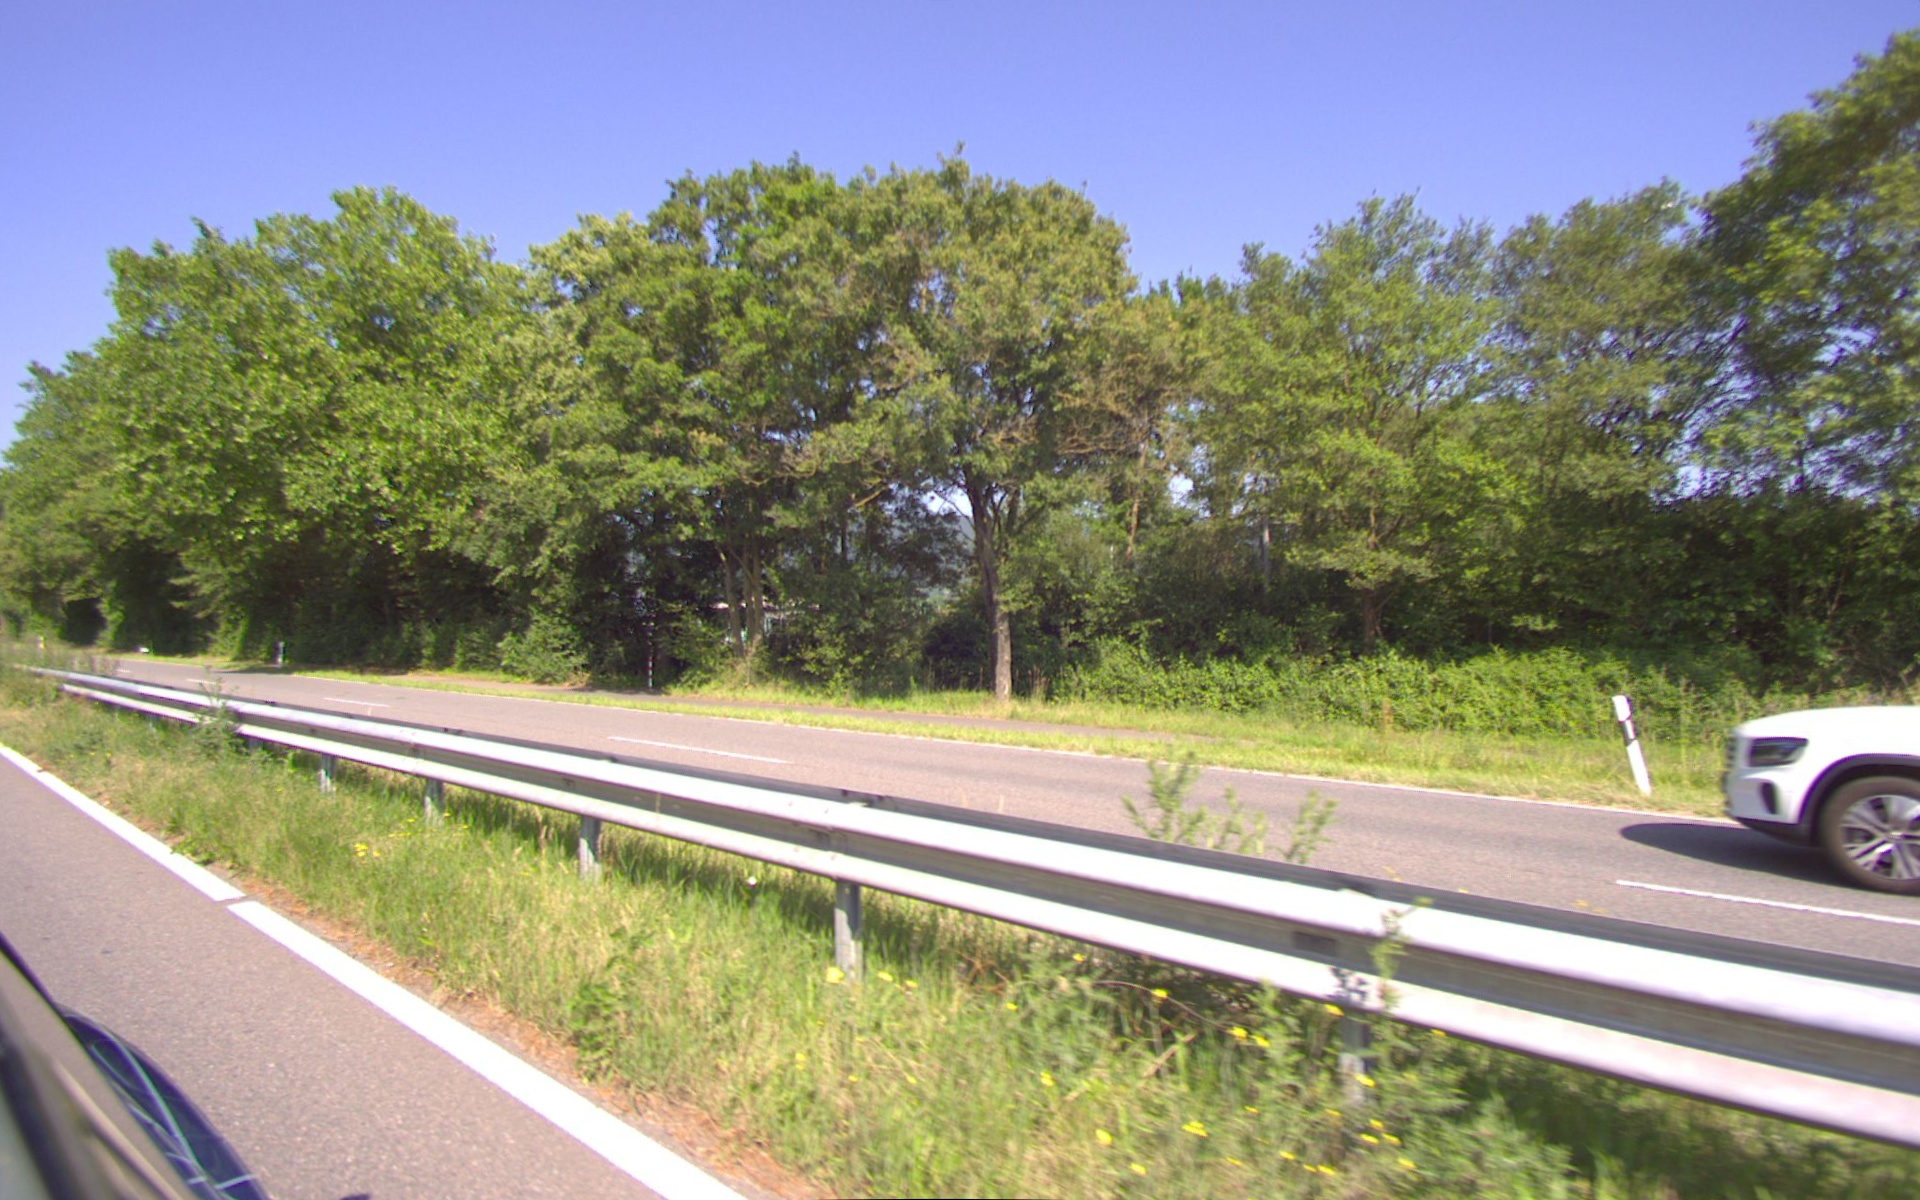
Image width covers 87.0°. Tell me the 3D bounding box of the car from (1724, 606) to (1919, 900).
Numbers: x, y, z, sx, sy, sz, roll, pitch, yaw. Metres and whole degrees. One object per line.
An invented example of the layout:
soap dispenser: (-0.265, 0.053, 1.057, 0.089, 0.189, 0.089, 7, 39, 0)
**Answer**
car: (7.398, 0.897, 5.693, 4.811, 1.713, 1.973, -2, -4, 41)
